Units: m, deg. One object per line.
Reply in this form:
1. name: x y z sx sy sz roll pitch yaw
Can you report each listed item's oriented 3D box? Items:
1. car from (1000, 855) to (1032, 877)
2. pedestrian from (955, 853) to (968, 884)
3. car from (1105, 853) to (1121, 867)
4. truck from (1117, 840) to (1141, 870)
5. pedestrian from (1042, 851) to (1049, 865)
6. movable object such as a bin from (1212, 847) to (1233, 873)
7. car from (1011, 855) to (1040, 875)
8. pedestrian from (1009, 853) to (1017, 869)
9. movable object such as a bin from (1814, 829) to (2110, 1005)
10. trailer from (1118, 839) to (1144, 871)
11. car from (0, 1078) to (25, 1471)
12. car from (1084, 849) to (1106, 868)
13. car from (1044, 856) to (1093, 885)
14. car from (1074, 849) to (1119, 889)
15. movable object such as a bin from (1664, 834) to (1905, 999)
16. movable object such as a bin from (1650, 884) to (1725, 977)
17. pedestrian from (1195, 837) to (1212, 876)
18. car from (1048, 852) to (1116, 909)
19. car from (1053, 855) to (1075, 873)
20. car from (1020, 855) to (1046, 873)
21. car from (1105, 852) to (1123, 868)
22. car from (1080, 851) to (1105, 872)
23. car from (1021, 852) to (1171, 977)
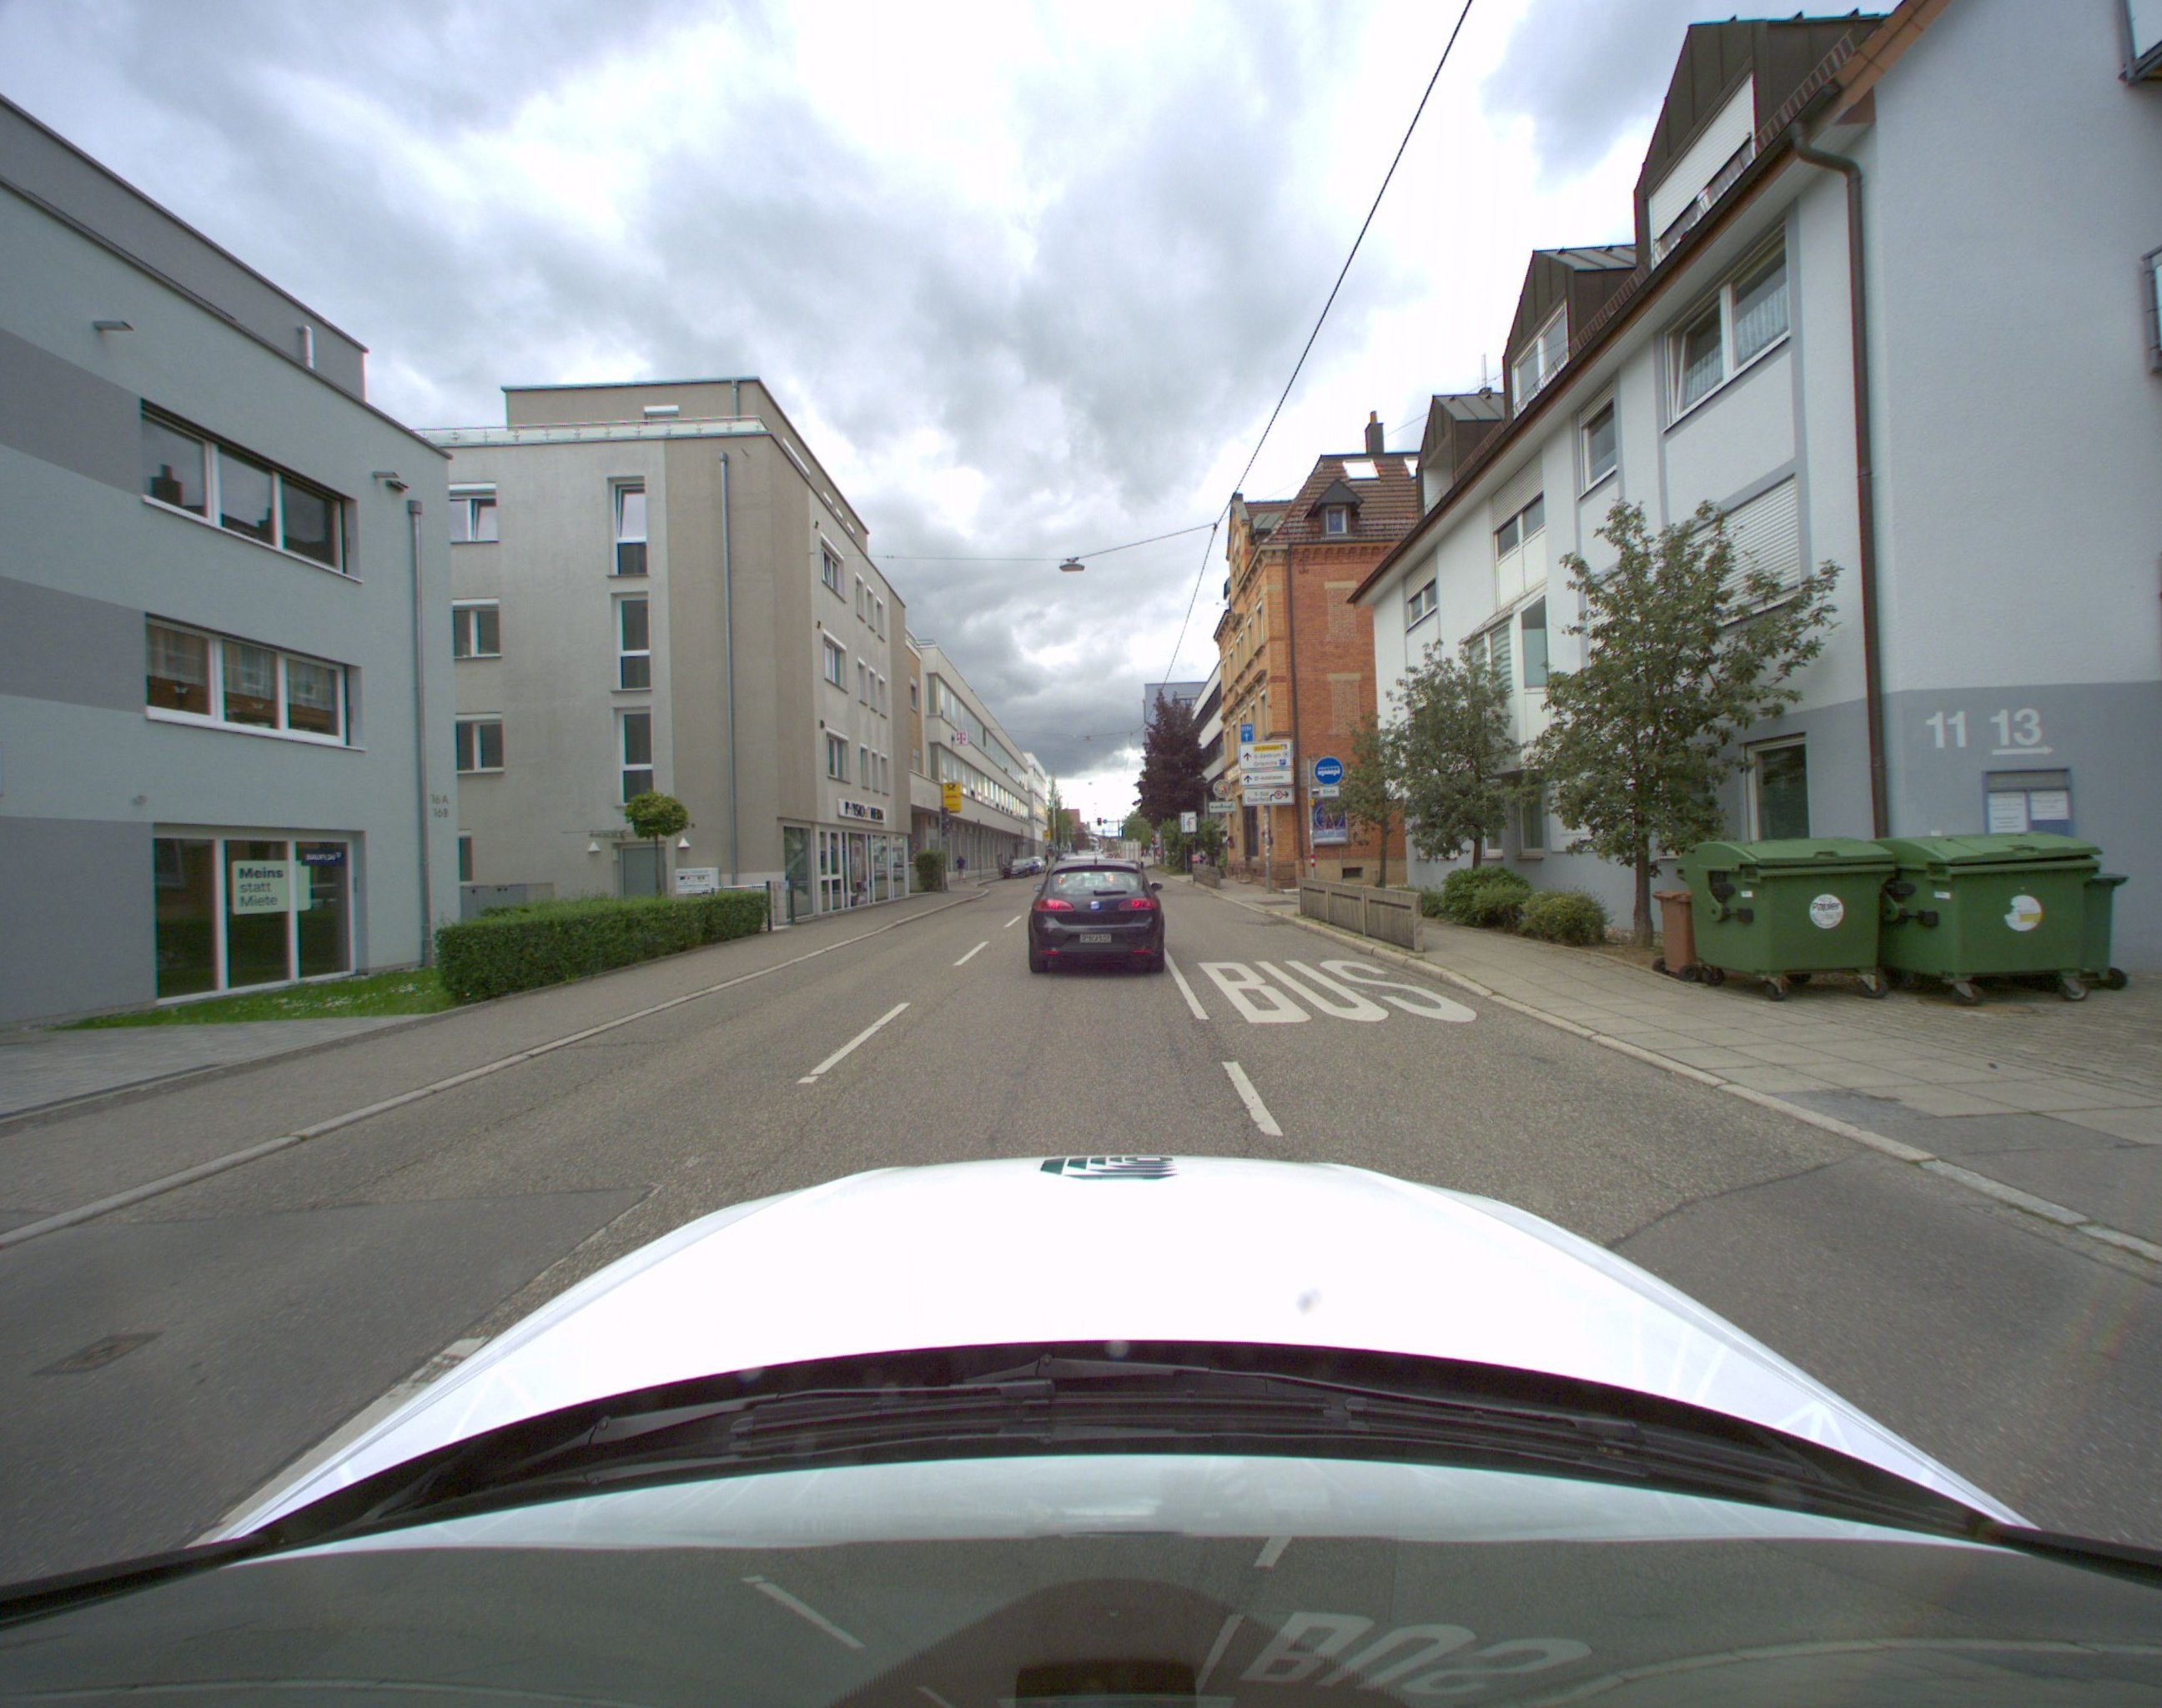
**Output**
1. car: -4.804 0.872 60.517 1.906 1.516 4.175 -3 0 1
2. pedestrian: -7.042 0.834 48.004 0.640 1.769 0.810 -2 0 0
3. car: 3.826 0.654 97.010 1.797 1.601 3.738 -1 0 1
4. truck: 4.375 0.084 74.545 1.986 2.607 3.261 -2 0 1
5. pedestrian: -4.782 0.491 109.687 0.915 1.869 0.783 -2 0 0
6. movable object such as a bin: 8.707 0.371 50.009 0.940 1.470 1.445 -3 0 -1
7. car: -4.492 0.890 66.301 1.986 1.517 4.175 -2 0 1
8. pedestrian: -7.053 0.729 84.773 0.653 1.623 0.681 -2 0 2
9. movable object such as a bin: 7.933 0.522 7.444 1.262 1.435 1.308 -2 0 2
10. trailer: 4.322 0.095 71.777 1.986 2.607 5.350 -2 0 1
11. car: -3.894 0.985 0.106 1.872 1.451 4.215 -4 0 1
12. car: 1.236 0.403 70.588 1.797 1.601 3.738 -1 0 1
13. car: -0.703 0.827 41.919 1.781 1.365 4.396 -2 0 -11
14. car: 0.673 0.613 34.903 1.797 1.553 3.738 -2 0 1
15. movable object such as a bin: 6.593 0.546 7.737 1.262 1.417 1.163 -2 0 2
16. movable object such as a bin: 6.360 0.791 8.555 0.428 0.921 0.465 -2 0 2
17. pedestrian: 6.556 0.138 43.626 0.691 2.013 0.676 -2 0 0
18. car: 0.057 0.720 23.968 1.797 1.492 3.738 -2 0 1
19. car: -1.666 0.990 82.932 1.986 1.738 4.554 -3 0 1
20. car: -4.198 0.866 71.791 1.986 1.517 4.175 -2 0 1
21. car: 3.387 0.589 84.624 1.797 1.601 3.738 -1 0 1
22. car: 0.884 0.561 62.636 1.797 1.601 3.738 -1 0 1
23. car: 0.234 0.721 11.656 1.759 1.433 3.830 -2 0 2
